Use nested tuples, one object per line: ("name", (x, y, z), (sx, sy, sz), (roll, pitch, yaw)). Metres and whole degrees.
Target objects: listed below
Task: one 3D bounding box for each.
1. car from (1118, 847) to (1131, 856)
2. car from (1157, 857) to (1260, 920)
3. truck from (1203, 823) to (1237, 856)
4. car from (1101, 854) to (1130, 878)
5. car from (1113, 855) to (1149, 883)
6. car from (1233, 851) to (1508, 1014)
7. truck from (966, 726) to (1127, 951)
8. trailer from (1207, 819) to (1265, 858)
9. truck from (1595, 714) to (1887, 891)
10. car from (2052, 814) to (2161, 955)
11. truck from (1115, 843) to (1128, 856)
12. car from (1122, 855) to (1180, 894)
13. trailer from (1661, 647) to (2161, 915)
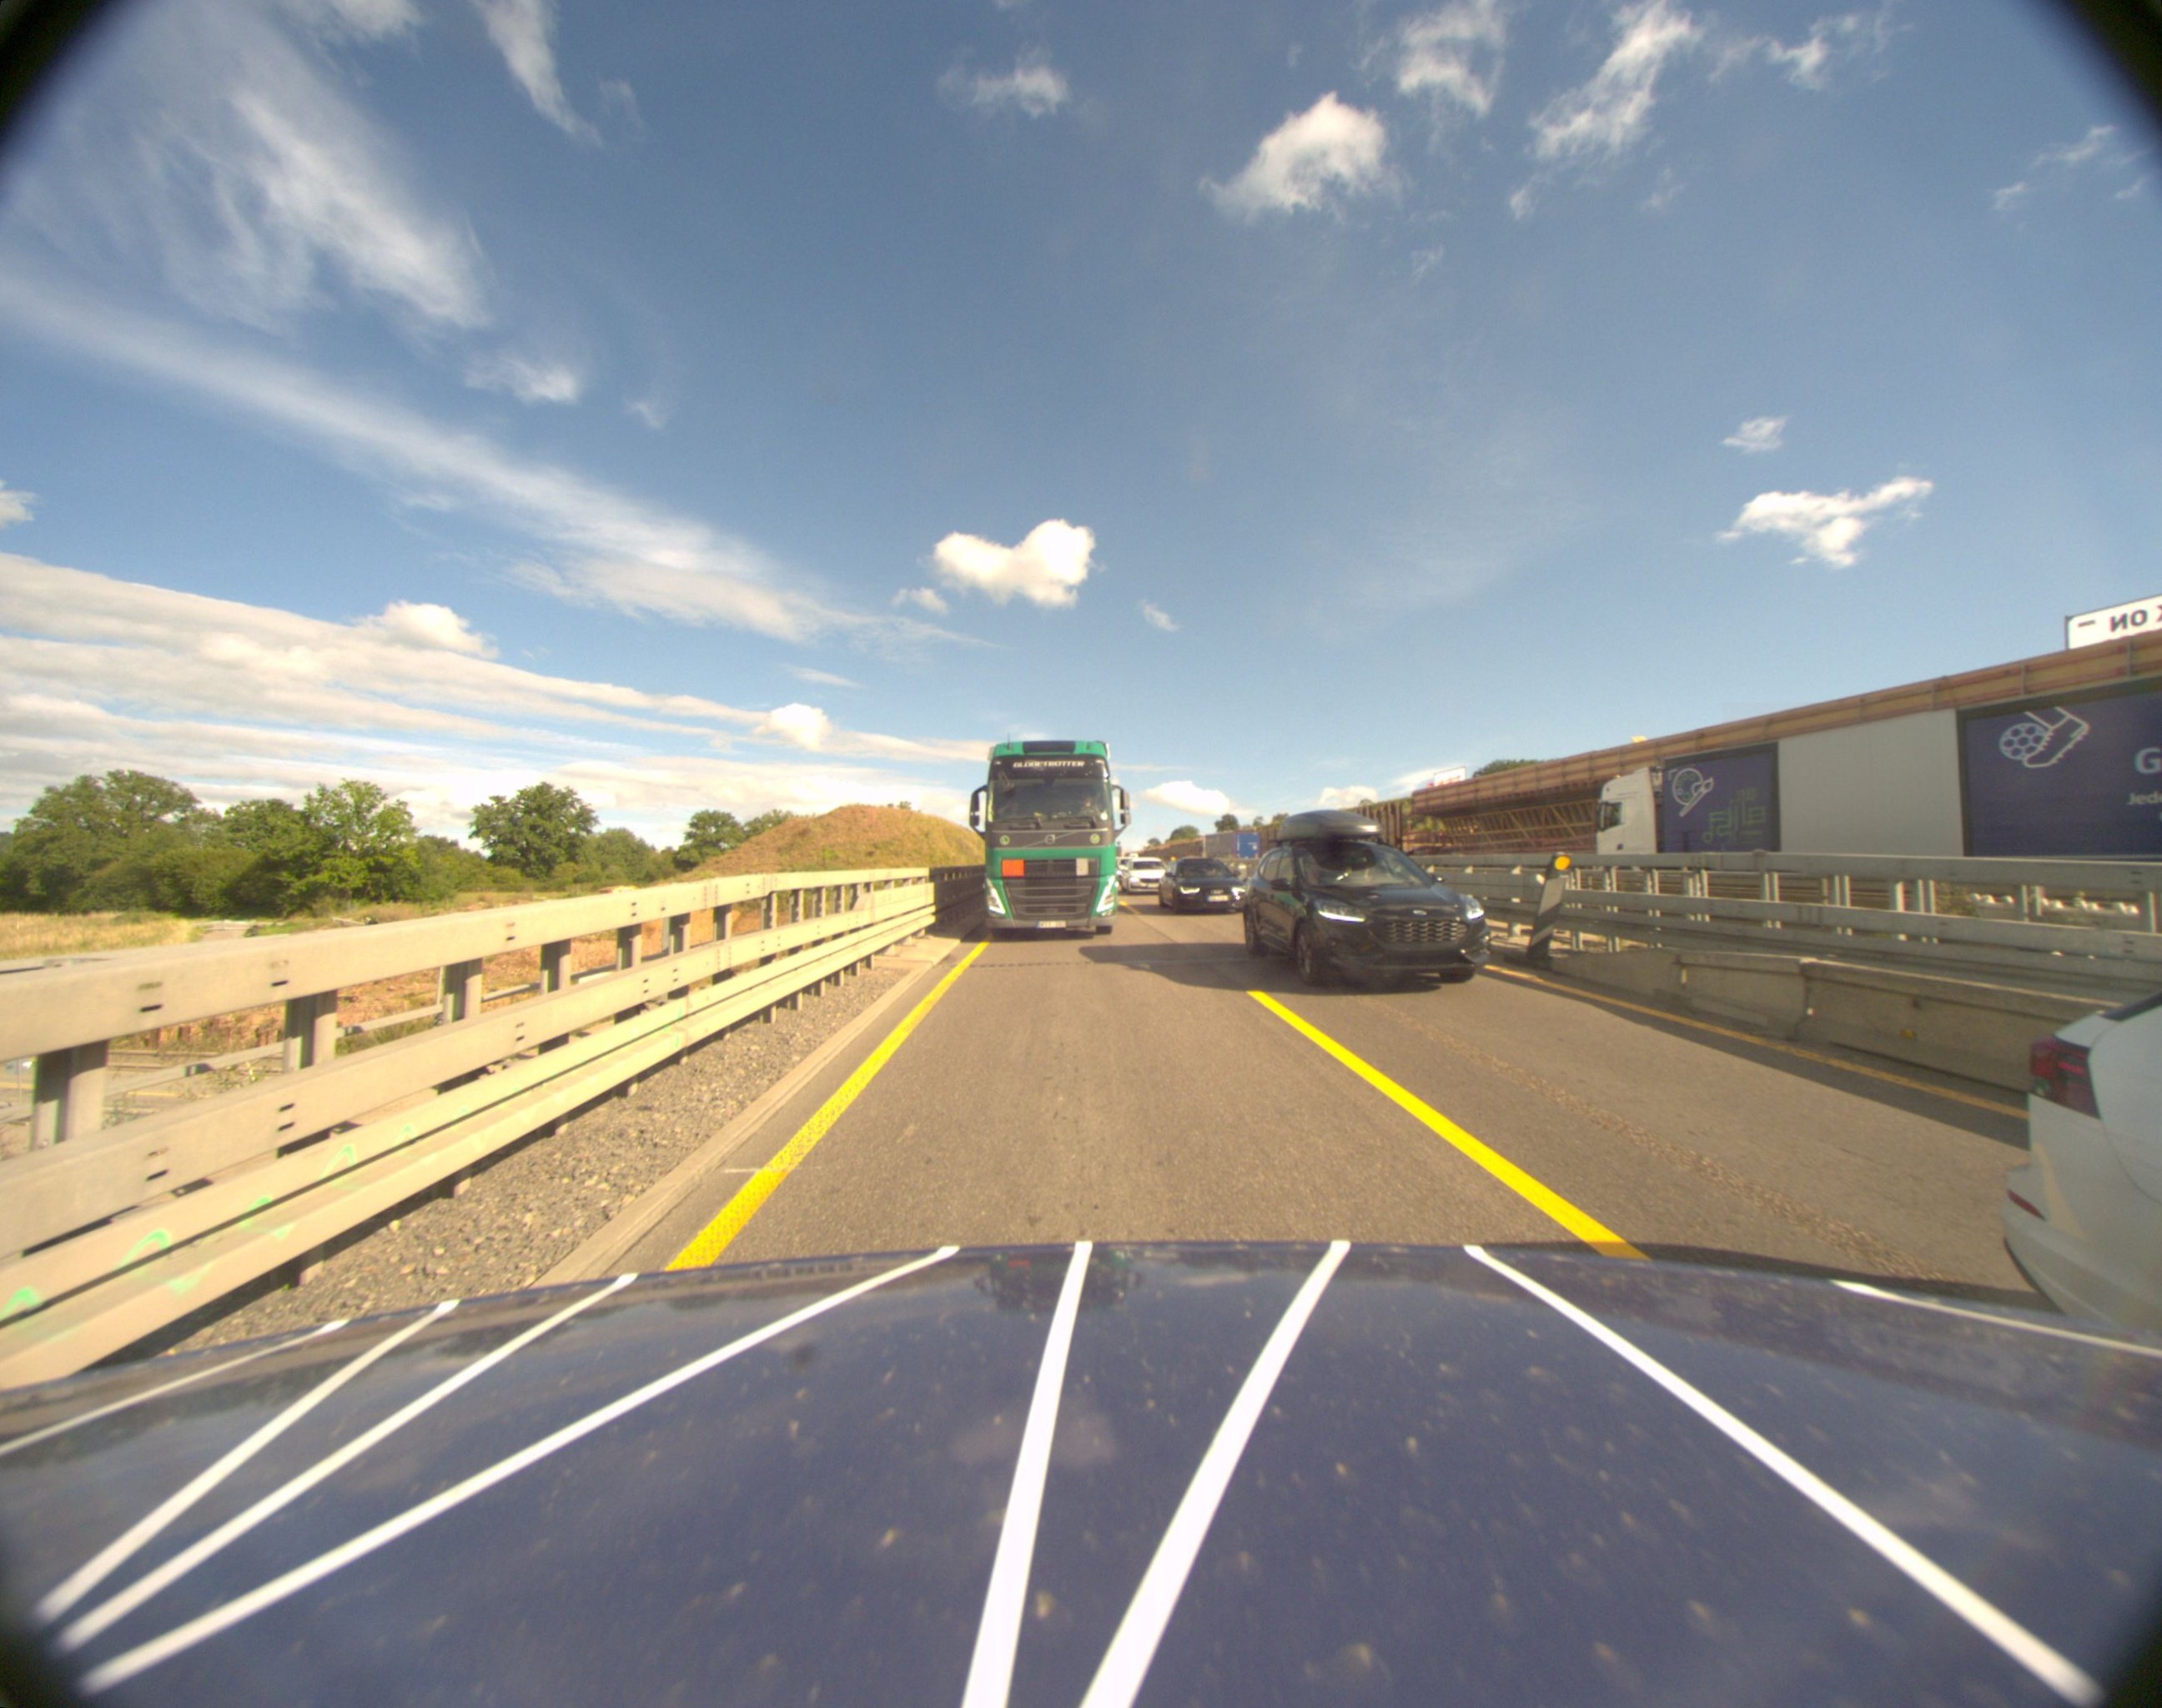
("car", (12.193, -0.697, 212.754), (2.887, 2.329, 6.403), (-2, 1, -2))
("car", (3.359, 0.846, 20.836), (1.949, 1.422, 4.503), (-1, 1, -2))
("truck", (15.762, -1.608, 86.300), (2.850, 3.608, 4.809), (-2, 1, -1))
("car", (2.356, 0.805, 52.904), (1.659, 1.510, 3.999), (-2, 1, -1))
("car", (2.880, 0.837, 44.372), (1.659, 1.510, 3.999), (-2, 1, -1))
("car", (3.232, 0.750, 9.528), (1.804, 1.533, 4.384), (-1, 0, 1))
("truck", (-0.715, -0.332, 18.355), (2.664, 3.825, 10.314), (-2, 1, -1))
("trailer", (15.915, -1.546, 79.389), (2.870, 3.645, 13.525), (-2, 1, -2))
("truck", (17.700, -1.262, 21.011), (2.719, 4.114, 5.968), (-2, 1, -2))
("car", (14.529, 0.371, 8.463), (1.928, 1.757, 4.326), (-2, 1, 0))
("truck", (12.254, -1.307, 228.810), (3.179, 3.843, 8.232), (-2, 1, -2))
("car", (2.832, 0.830, 31.694), (1.949, 1.422, 4.409), (-2, -1, -1))
("trailer", (17.964, -1.194, 14.515), (2.695, 4.132, 13.806), (-2, 1, -3))
